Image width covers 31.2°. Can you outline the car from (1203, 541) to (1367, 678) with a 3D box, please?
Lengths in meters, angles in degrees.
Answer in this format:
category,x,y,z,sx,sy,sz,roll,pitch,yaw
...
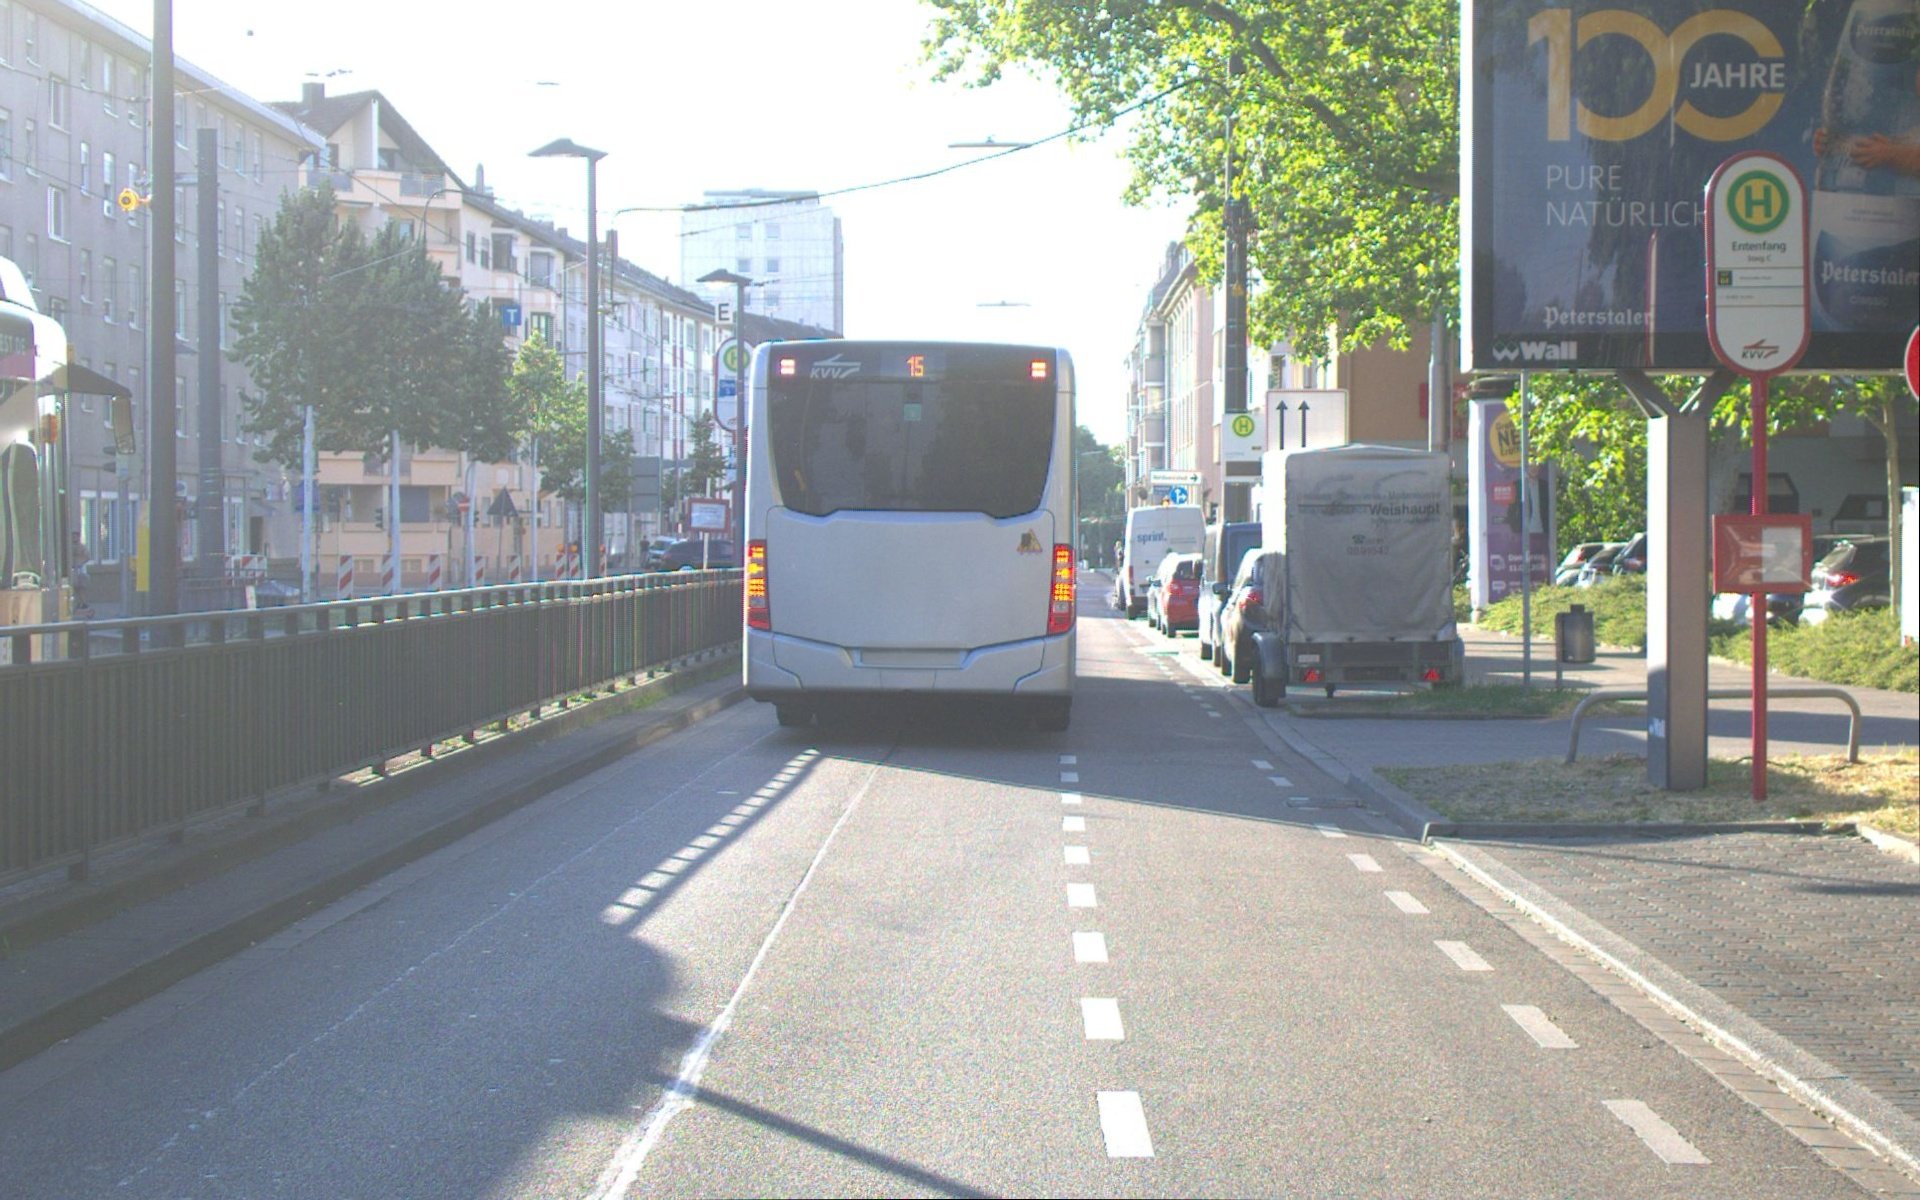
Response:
category,x,y,z,sx,sy,sz,roll,pitch,yaw
car,3.895,0.089,41.681,1.701,1.583,3.827,0,1,1

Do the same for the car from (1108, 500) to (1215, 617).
category,x,y,z,sx,sy,sz,roll,pitch,yaw
car,4.619,-0.957,79.600,2.282,2.618,5.309,0,1,1

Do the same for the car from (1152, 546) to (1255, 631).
category,x,y,z,sx,sy,sz,roll,pitch,yaw
car,4.474,-0.230,63.582,1.671,1.458,3.933,-2,1,1

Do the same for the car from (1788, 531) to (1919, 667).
category,x,y,z,sx,sy,sz,roll,pitch,yaw
car,12.344,-0.029,42.279,3.920,1.631,1.706,0,1,1

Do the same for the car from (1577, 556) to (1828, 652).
category,x,y,z,sx,sy,sz,roll,pitch,yaw
car,12.573,0.054,58.374,3.920,1.583,1.706,0,1,1

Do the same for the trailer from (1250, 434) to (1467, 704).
category,x,y,z,sx,sy,sz,roll,pitch,yaw
trailer,3.936,-0.319,34.403,1.832,2.549,3.318,-1,1,1

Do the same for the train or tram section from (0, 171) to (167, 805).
category,x,y,z,sx,sy,sz,roll,pitch,yaw
train or tram section,-6.698,-0.567,16.009,2.640,3.507,13.333,0,1,1

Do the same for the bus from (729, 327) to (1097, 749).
category,x,y,z,sx,sy,sz,roll,pitch,yaw
bus,-0.202,-0.569,30.900,2.733,3.128,10.703,0,1,2

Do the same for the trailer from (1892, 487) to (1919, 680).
category,x,y,z,sx,sy,sz,roll,pitch,yaw
trailer,11.810,-0.173,37.011,3.064,2.062,1.878,0,1,3

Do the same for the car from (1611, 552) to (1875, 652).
category,x,y,z,sx,sy,sz,roll,pitch,yaw
car,12.724,0.024,56.028,3.920,1.583,1.706,0,1,1

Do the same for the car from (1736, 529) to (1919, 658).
category,x,y,z,sx,sy,sz,roll,pitch,yaw
car,12.222,-0.100,44.645,3.920,1.632,1.706,0,1,1

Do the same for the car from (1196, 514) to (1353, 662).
category,x,y,z,sx,sy,sz,roll,pitch,yaw
car,4.296,-0.183,47.586,1.847,1.950,4.543,0,1,1

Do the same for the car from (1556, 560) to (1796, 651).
category,x,y,z,sx,sy,sz,roll,pitch,yaw
car,12.632,0.088,60.806,3.920,1.583,1.706,0,1,1

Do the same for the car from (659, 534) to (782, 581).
category,x,y,z,sx,sy,sz,roll,pitch,yaw
car,-8.274,-1.478,119.215,4.135,1.612,2.000,0,1,-1
